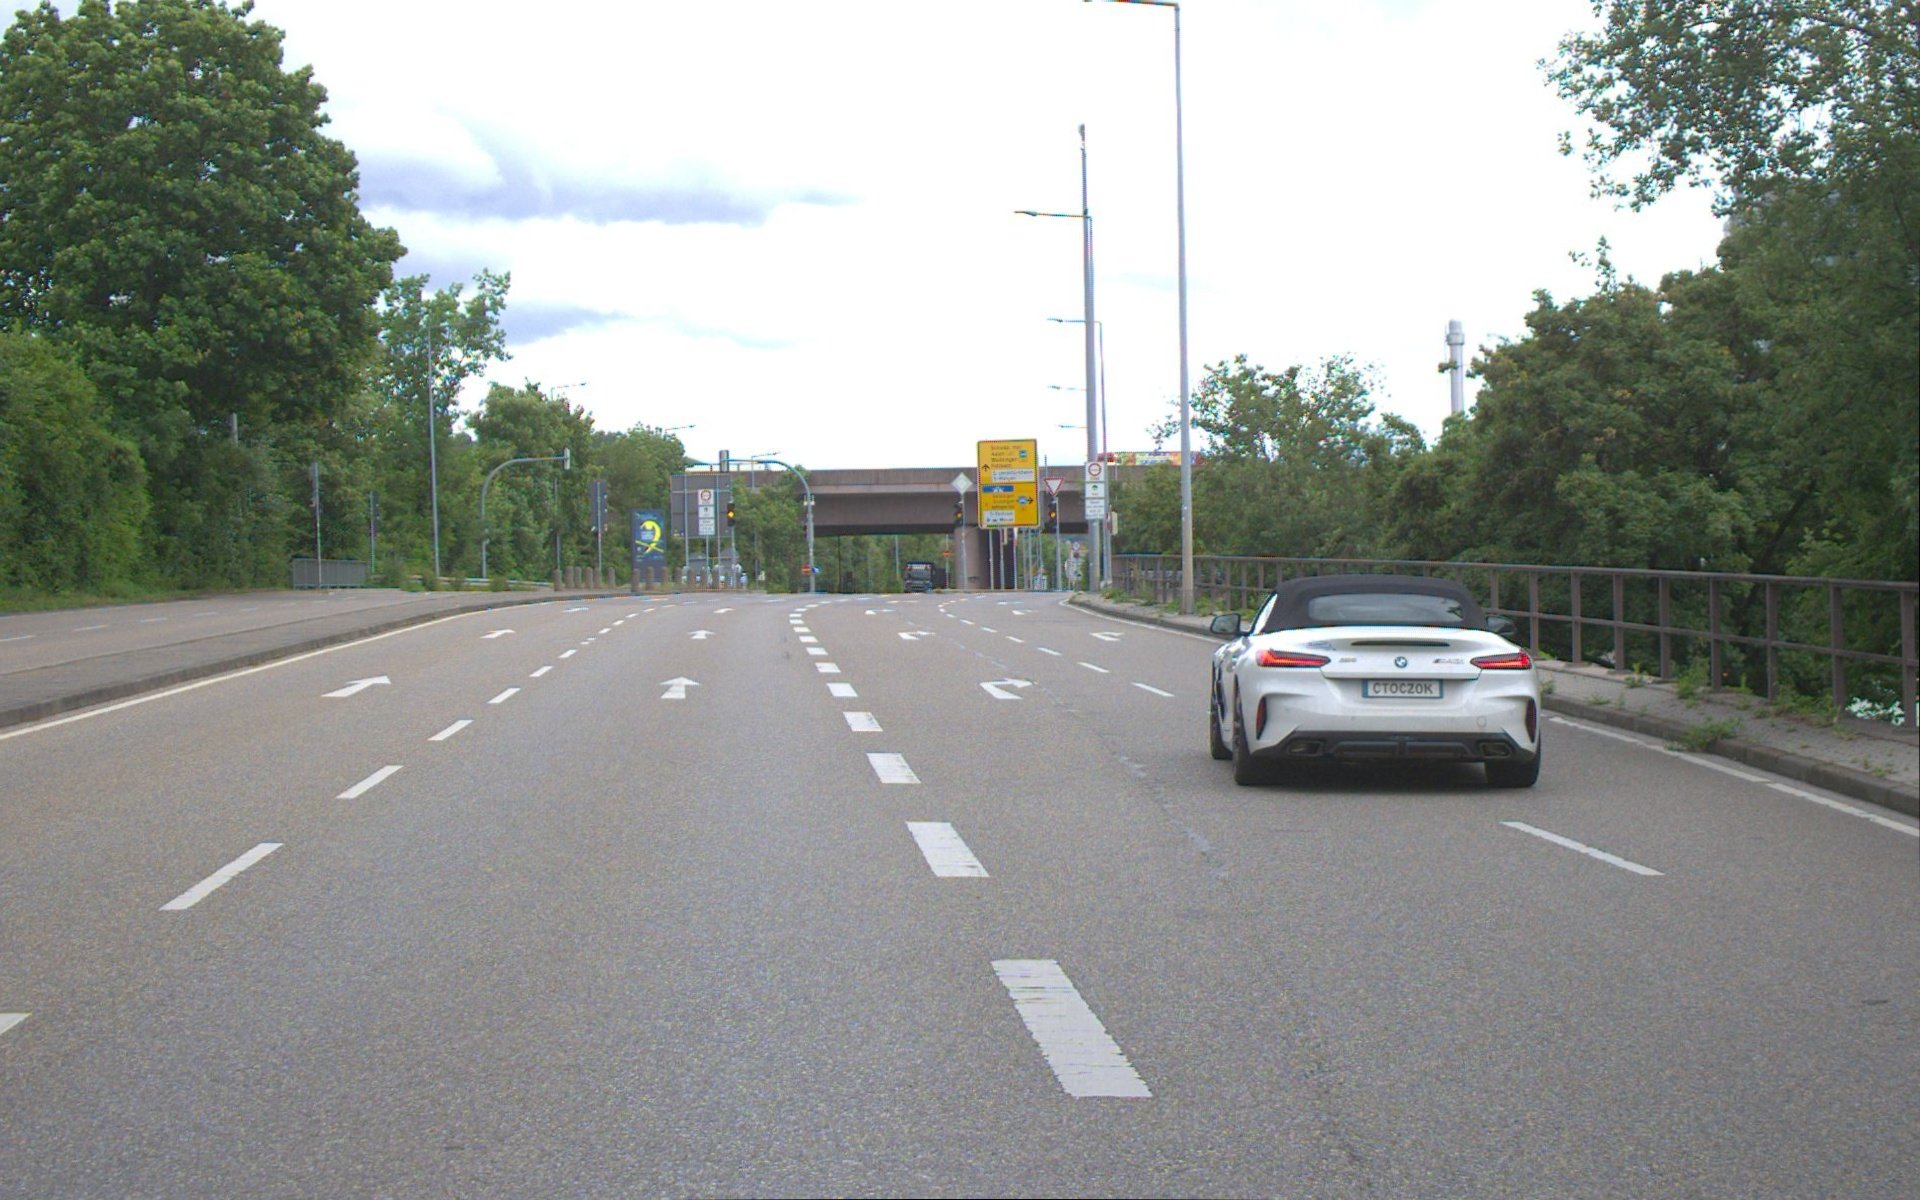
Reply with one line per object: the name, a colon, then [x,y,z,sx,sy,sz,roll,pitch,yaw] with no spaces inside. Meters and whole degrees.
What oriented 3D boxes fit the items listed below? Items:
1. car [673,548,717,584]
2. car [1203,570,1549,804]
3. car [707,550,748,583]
car: [-12.437,-1.579,161.697,1.771,1.639,3.825,1,0,0]
car: [2.593,0.499,22.237,1.875,1.305,3.873,1,1,2]
car: [-11.703,-1.691,173.416,1.771,1.627,3.825,1,0,0]
